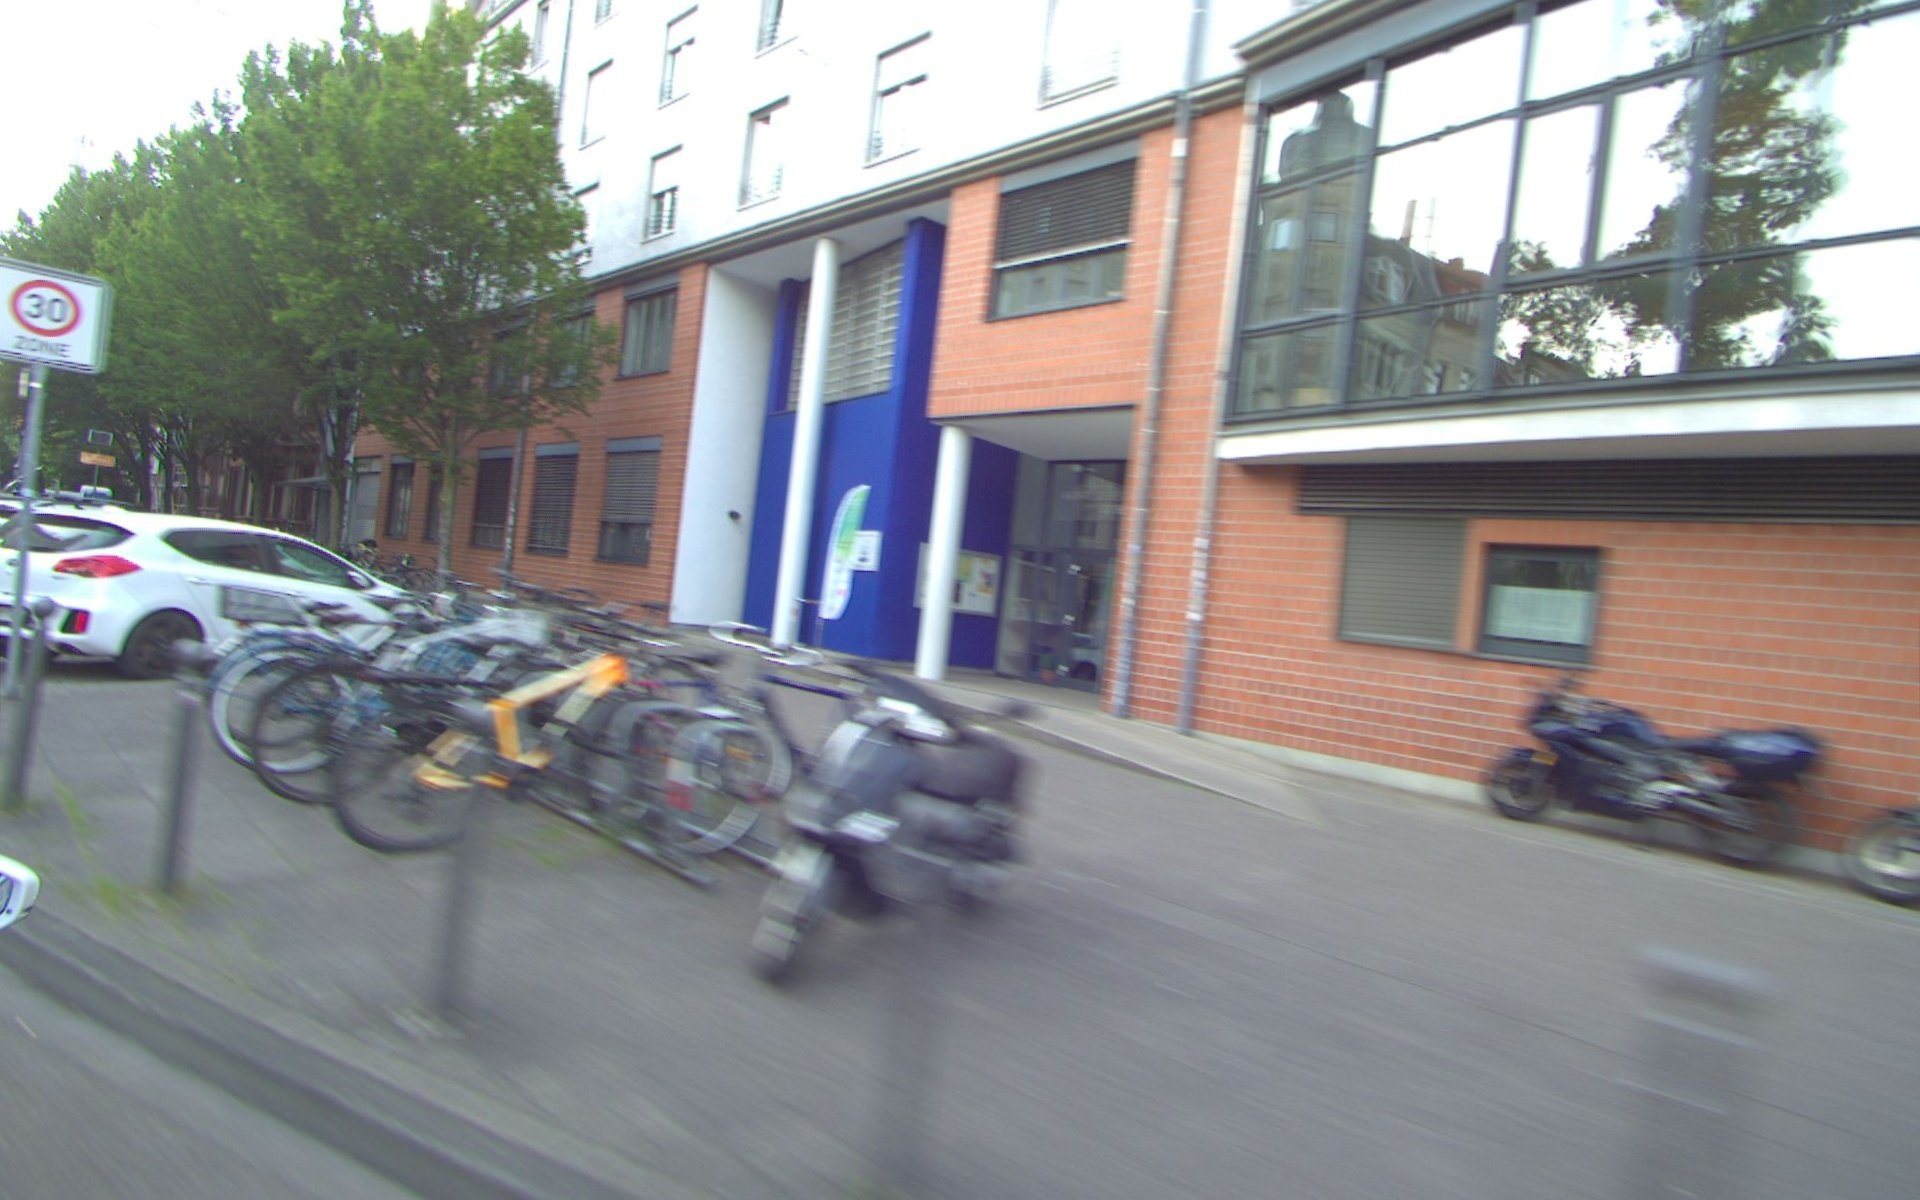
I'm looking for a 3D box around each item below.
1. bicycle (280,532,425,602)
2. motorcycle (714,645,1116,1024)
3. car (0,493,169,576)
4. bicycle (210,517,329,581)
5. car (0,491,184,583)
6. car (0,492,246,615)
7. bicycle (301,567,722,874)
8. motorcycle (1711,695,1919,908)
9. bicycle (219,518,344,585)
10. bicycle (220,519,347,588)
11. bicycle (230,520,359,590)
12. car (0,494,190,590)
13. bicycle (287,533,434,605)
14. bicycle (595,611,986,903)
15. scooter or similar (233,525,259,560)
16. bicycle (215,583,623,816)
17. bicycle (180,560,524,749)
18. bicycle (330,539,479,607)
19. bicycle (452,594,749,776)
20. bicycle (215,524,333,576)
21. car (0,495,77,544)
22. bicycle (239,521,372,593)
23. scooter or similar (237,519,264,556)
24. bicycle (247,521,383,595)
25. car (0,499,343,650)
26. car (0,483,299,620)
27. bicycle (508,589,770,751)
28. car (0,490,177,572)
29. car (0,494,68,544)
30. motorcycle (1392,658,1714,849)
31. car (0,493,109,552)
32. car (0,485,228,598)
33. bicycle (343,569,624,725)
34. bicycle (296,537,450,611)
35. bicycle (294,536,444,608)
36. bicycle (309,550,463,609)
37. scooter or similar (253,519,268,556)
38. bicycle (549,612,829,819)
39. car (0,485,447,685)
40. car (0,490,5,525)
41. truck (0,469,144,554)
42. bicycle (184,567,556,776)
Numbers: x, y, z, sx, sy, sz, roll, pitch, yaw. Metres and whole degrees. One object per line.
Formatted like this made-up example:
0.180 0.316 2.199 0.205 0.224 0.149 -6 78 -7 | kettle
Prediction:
-13.008 -0.677 21.629 2.527 1.180 0.555 7 0 -44 | bicycle
-0.085 0.774 3.980 0.637 1.116 1.643 7 2 35 | motorcycle
-20.825 -1.531 22.769 1.772 1.553 4.389 7 -1 11 | car
-18.997 -1.385 27.731 2.527 1.396 0.592 7 0 -44 | bicycle
-18.728 -1.317 21.070 1.533 1.553 3.607 7 0 16 | car
-13.333 -0.697 15.177 1.605 1.556 4.002 7 0 13 | car
-2.023 0.524 4.754 0.465 1.191 1.703 7 2 42 | bicycle
6.322 1.350 6.336 2.376 1.154 0.775 6 1 31 | motorcycle
-17.601 -1.248 26.157 2.527 1.396 0.592 7 0 -44 | bicycle
-17.190 -1.164 25.627 2.527 1.396 0.592 7 0 -44 | bicycle
-16.625 -1.104 25.193 2.527 1.396 0.592 7 0 -44 | bicycle
-17.171 -1.128 19.143 1.690 1.500 3.607 7 0 16 | car
-12.587 -0.627 21.199 2.527 1.180 0.555 7 0 -44 | bicycle
-0.770 0.693 5.054 0.650 1.161 1.853 7 3 43 | bicycle
-26.238 -2.103 36.997 0.365 1.234 1.611 3 1 -22 | scooter or similar
-2.845 0.515 5.485 0.465 1.052 1.853 7 2 42 | bicycle
-3.953 0.367 6.685 0.439 1.079 1.853 7 2 42 | bicycle
-10.451 -0.493 19.004 2.337 1.114 0.671 3 3 -44 | bicycle
-2.342 0.558 6.773 0.396 1.052 1.853 7 2 42 | bicycle
-18.142 -1.304 26.663 2.522 1.262 0.592 0 5 -44 | bicycle
-33.339 -2.906 34.843 1.729 1.455 3.838 7 1 9 | car
-15.661 -1.015 24.141 2.527 1.396 0.592 7 0 -44 | bicycle
-25.388 -2.221 36.017 0.365 1.234 1.695 3 1 -22 | scooter or similar
-15.139 -0.958 23.670 2.527 1.396 0.592 7 0 -44 | bicycle
-9.898 -0.260 12.179 1.839 1.491 4.002 5 -1 11 | car
-11.644 -0.602 13.944 1.677 1.541 4.002 5 -1 13 | car
-2.416 0.537 7.779 0.517 1.079 1.853 7 2 42 | bicycle
-22.605 -1.764 25.443 1.727 1.657 3.996 7 0 24 | car
-35.008 -3.077 36.422 1.607 1.548 3.897 7 -1 4 | car
4.661 1.144 8.030 2.055 1.118 0.586 6 3 41 | motorcycle
-28.691 -2.426 30.924 1.741 1.493 3.407 7 1 13 | car
-15.074 -0.982 17.406 1.683 1.599 3.608 7 0 11 | car
-3.715 0.384 7.992 0.517 1.079 1.907 7 2 42 | bicycle
-11.779 -0.496 20.271 2.527 1.180 0.555 7 0 -44 | bicycle
-12.153 -0.554 20.756 2.527 1.180 0.555 7 0 -44 | bicycle
-11.289 -0.386 19.873 2.524 0.972 0.671 3 3 -44 | bicycle
-24.215 -2.172 34.833 0.408 1.235 1.758 0 4 -34 | scooter or similar
-1.563 0.658 6.005 0.465 1.052 1.536 7 2 42 | bicycle
-7.456 -0.097 10.141 1.737 1.525 4.002 7 -1 14 | car
-50.897 -4.999 50.380 4.181 1.801 1.799 9 -1 -41 | car
-41.267 -4.020 45.545 2.236 3.009 6.307 3 -4 45 | truck
-3.489 0.428 6.115 0.439 1.079 1.853 7 2 42 | bicycle
